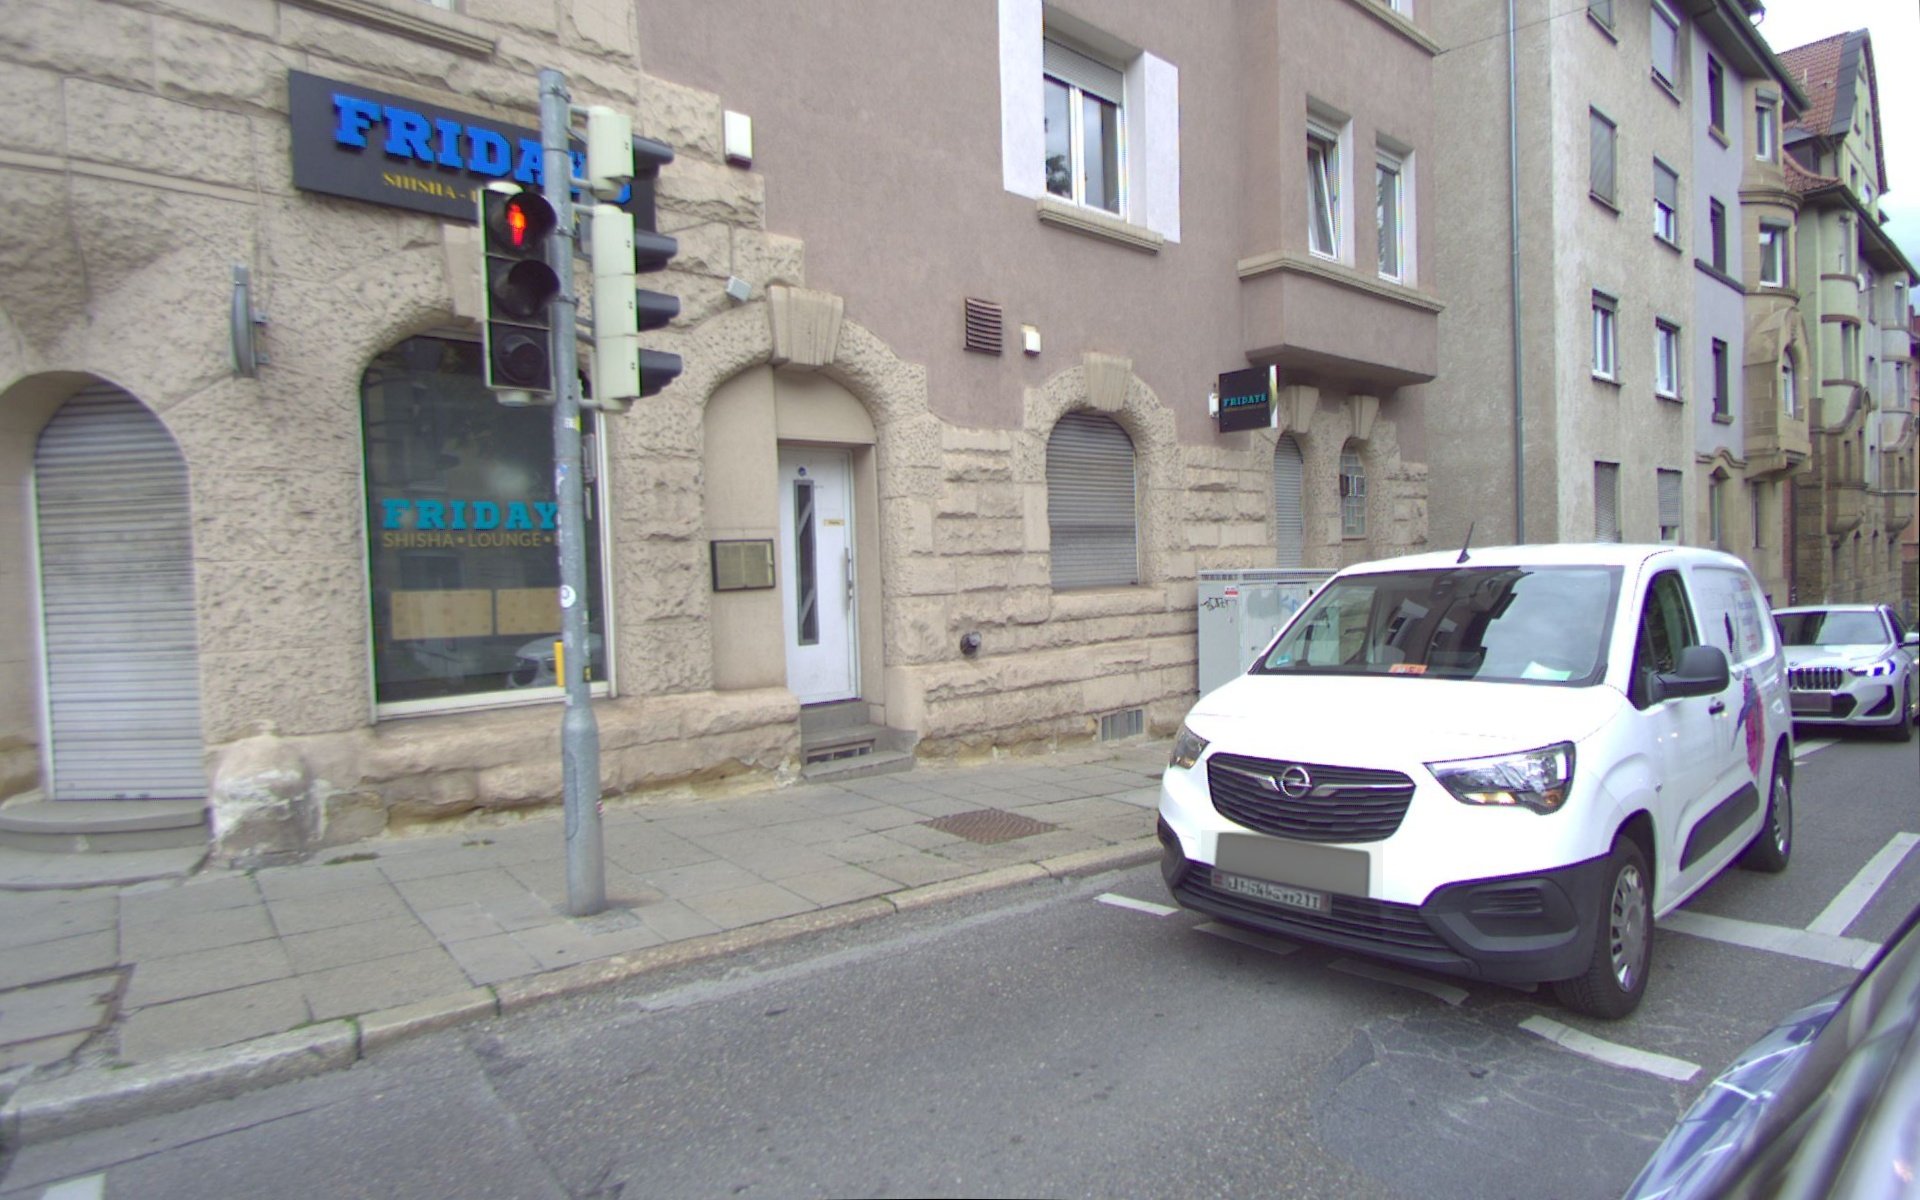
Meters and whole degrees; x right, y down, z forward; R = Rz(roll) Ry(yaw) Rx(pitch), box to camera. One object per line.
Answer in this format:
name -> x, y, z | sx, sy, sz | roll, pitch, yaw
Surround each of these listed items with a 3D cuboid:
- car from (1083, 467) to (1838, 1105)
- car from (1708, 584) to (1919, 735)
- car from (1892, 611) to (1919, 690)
car -> 2.889, 0.544, 5.159 | 4.761, 1.812, 1.786 | 0, -2, -42
car -> 11.261, 0.700, 12.980 | 4.090, 1.628, 1.778 | 1, -3, -41
car -> 19.578, 0.914, 19.580 | 4.090, 1.461, 1.778 | 1, -3, -41
